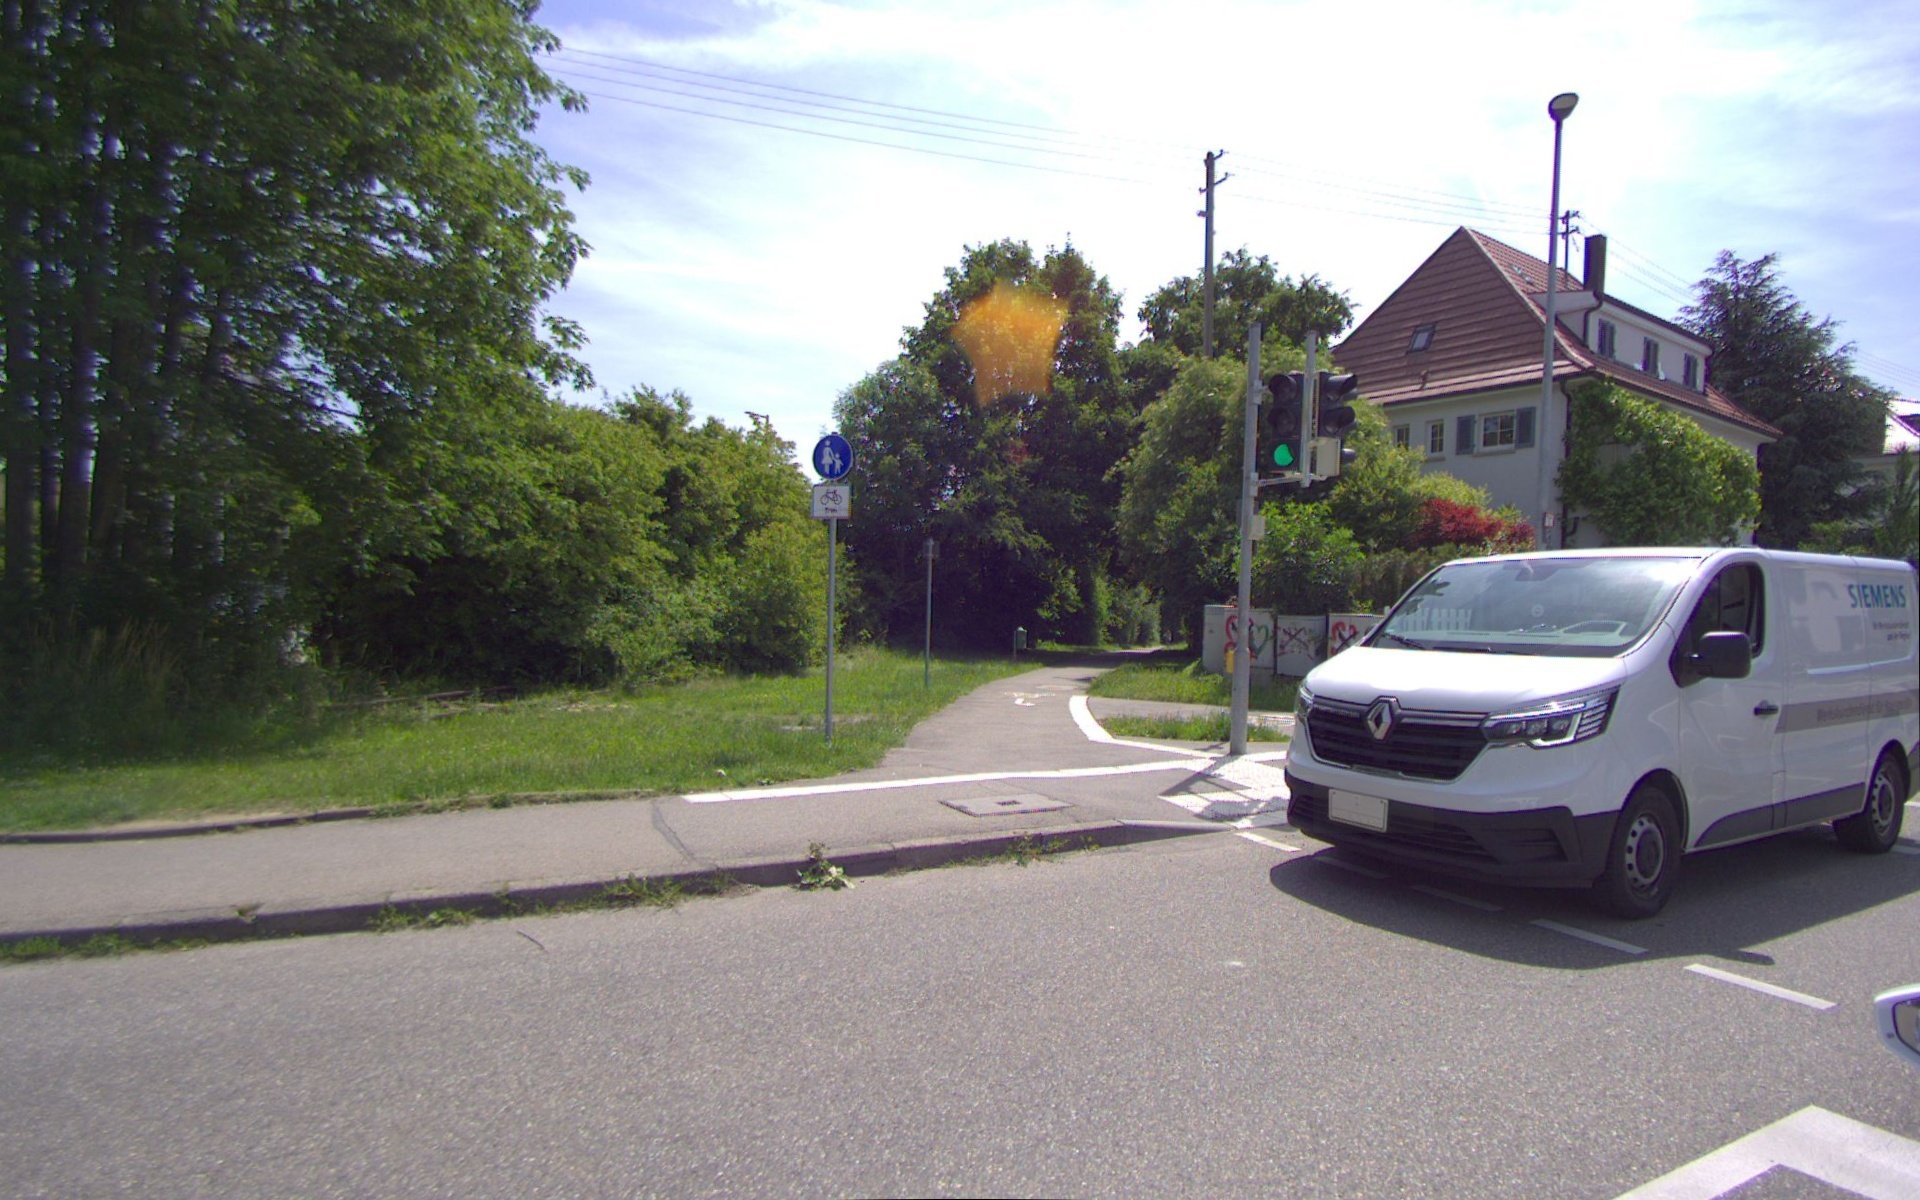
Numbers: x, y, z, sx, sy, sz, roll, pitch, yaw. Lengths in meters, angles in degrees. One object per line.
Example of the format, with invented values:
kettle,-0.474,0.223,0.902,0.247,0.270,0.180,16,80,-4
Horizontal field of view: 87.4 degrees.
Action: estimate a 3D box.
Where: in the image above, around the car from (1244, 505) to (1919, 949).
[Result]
car,4.290,0.624,6.545,4.845,1.991,1.870,1,-1,-30
